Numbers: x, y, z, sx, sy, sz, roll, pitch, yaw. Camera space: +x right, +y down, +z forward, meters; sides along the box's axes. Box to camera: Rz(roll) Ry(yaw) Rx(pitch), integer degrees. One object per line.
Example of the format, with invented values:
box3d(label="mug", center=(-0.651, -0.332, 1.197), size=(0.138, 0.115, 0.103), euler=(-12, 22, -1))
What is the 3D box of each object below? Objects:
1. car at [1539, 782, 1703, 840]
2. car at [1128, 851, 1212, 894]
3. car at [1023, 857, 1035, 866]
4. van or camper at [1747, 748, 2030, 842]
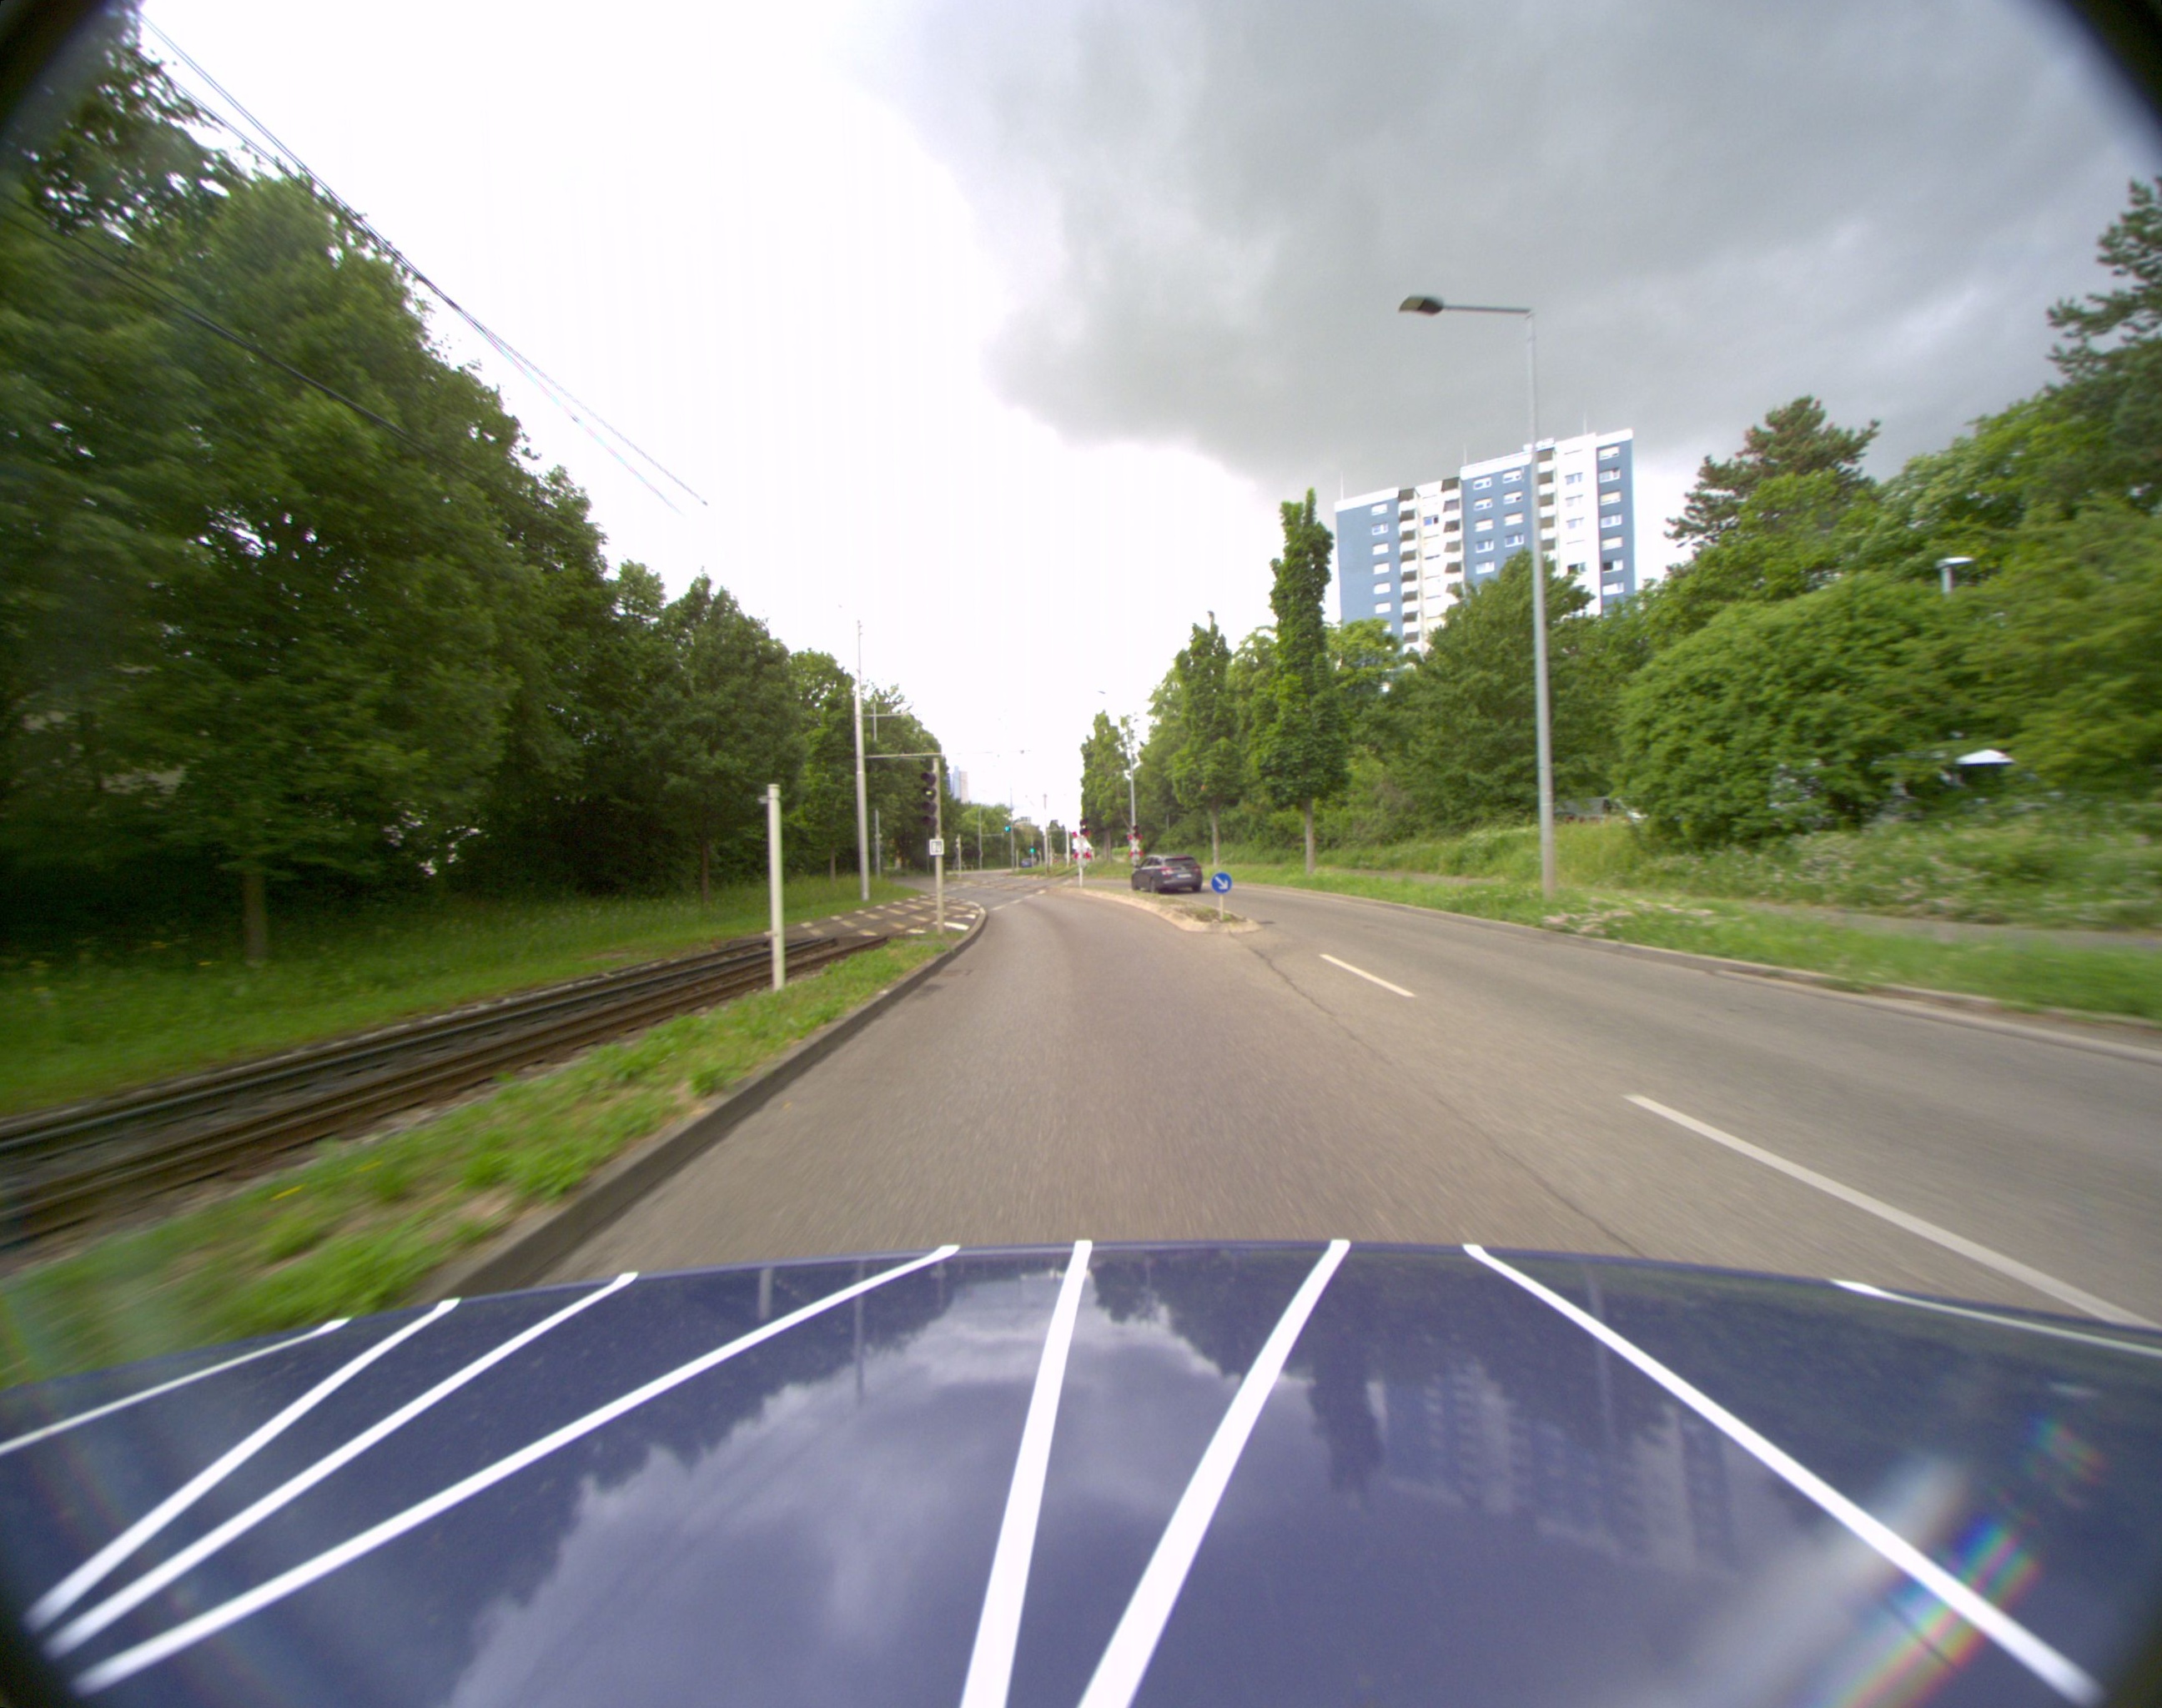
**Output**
box3d(label="car", center=(19.441, -1.466, 27.746), size=(2.144, 1.715, 5.323), euler=(-2, 0, 0))
box3d(label="car", center=(3.266, 0.640, 28.756), size=(2.000, 1.430, 4.422), euler=(-2, 0, -9))
box3d(label="car", center=(-9.166, 1.330, 134.446), size=(1.873, 1.512, 4.237), euler=(-3, -1, -6))
box3d(label="van or camper", center=(19.523, -1.316, 18.760), size=(1.999, 1.866, 4.629), euler=(-2, 0, -1))
